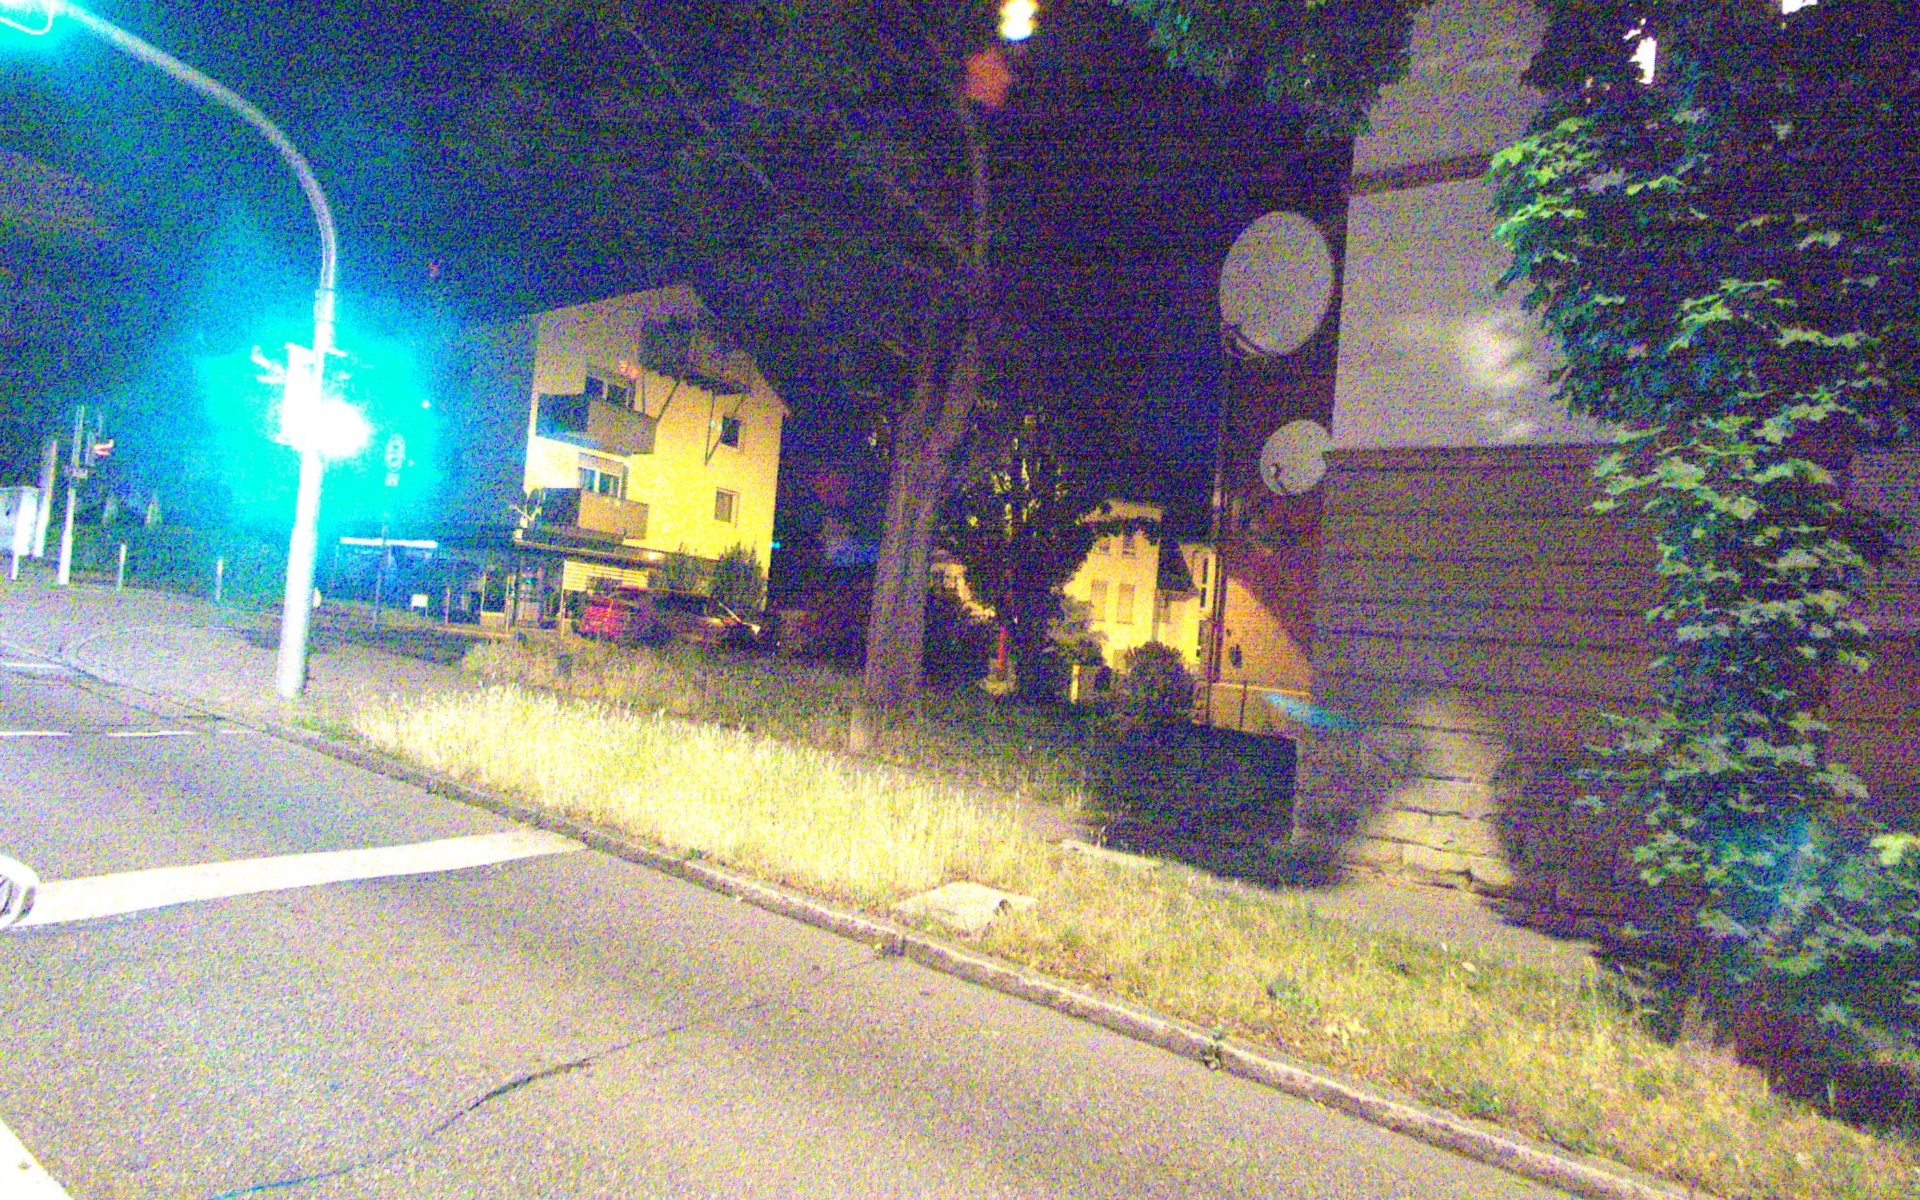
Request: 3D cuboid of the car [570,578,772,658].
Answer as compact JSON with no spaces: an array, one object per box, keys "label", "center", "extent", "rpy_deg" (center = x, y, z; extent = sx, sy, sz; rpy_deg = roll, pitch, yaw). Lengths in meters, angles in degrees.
[{"label":"car","center":[-6.547,0.457,23.176],"extent":[1.740,1.295,4.131],"rpy_deg":[6,-3,39]}]
